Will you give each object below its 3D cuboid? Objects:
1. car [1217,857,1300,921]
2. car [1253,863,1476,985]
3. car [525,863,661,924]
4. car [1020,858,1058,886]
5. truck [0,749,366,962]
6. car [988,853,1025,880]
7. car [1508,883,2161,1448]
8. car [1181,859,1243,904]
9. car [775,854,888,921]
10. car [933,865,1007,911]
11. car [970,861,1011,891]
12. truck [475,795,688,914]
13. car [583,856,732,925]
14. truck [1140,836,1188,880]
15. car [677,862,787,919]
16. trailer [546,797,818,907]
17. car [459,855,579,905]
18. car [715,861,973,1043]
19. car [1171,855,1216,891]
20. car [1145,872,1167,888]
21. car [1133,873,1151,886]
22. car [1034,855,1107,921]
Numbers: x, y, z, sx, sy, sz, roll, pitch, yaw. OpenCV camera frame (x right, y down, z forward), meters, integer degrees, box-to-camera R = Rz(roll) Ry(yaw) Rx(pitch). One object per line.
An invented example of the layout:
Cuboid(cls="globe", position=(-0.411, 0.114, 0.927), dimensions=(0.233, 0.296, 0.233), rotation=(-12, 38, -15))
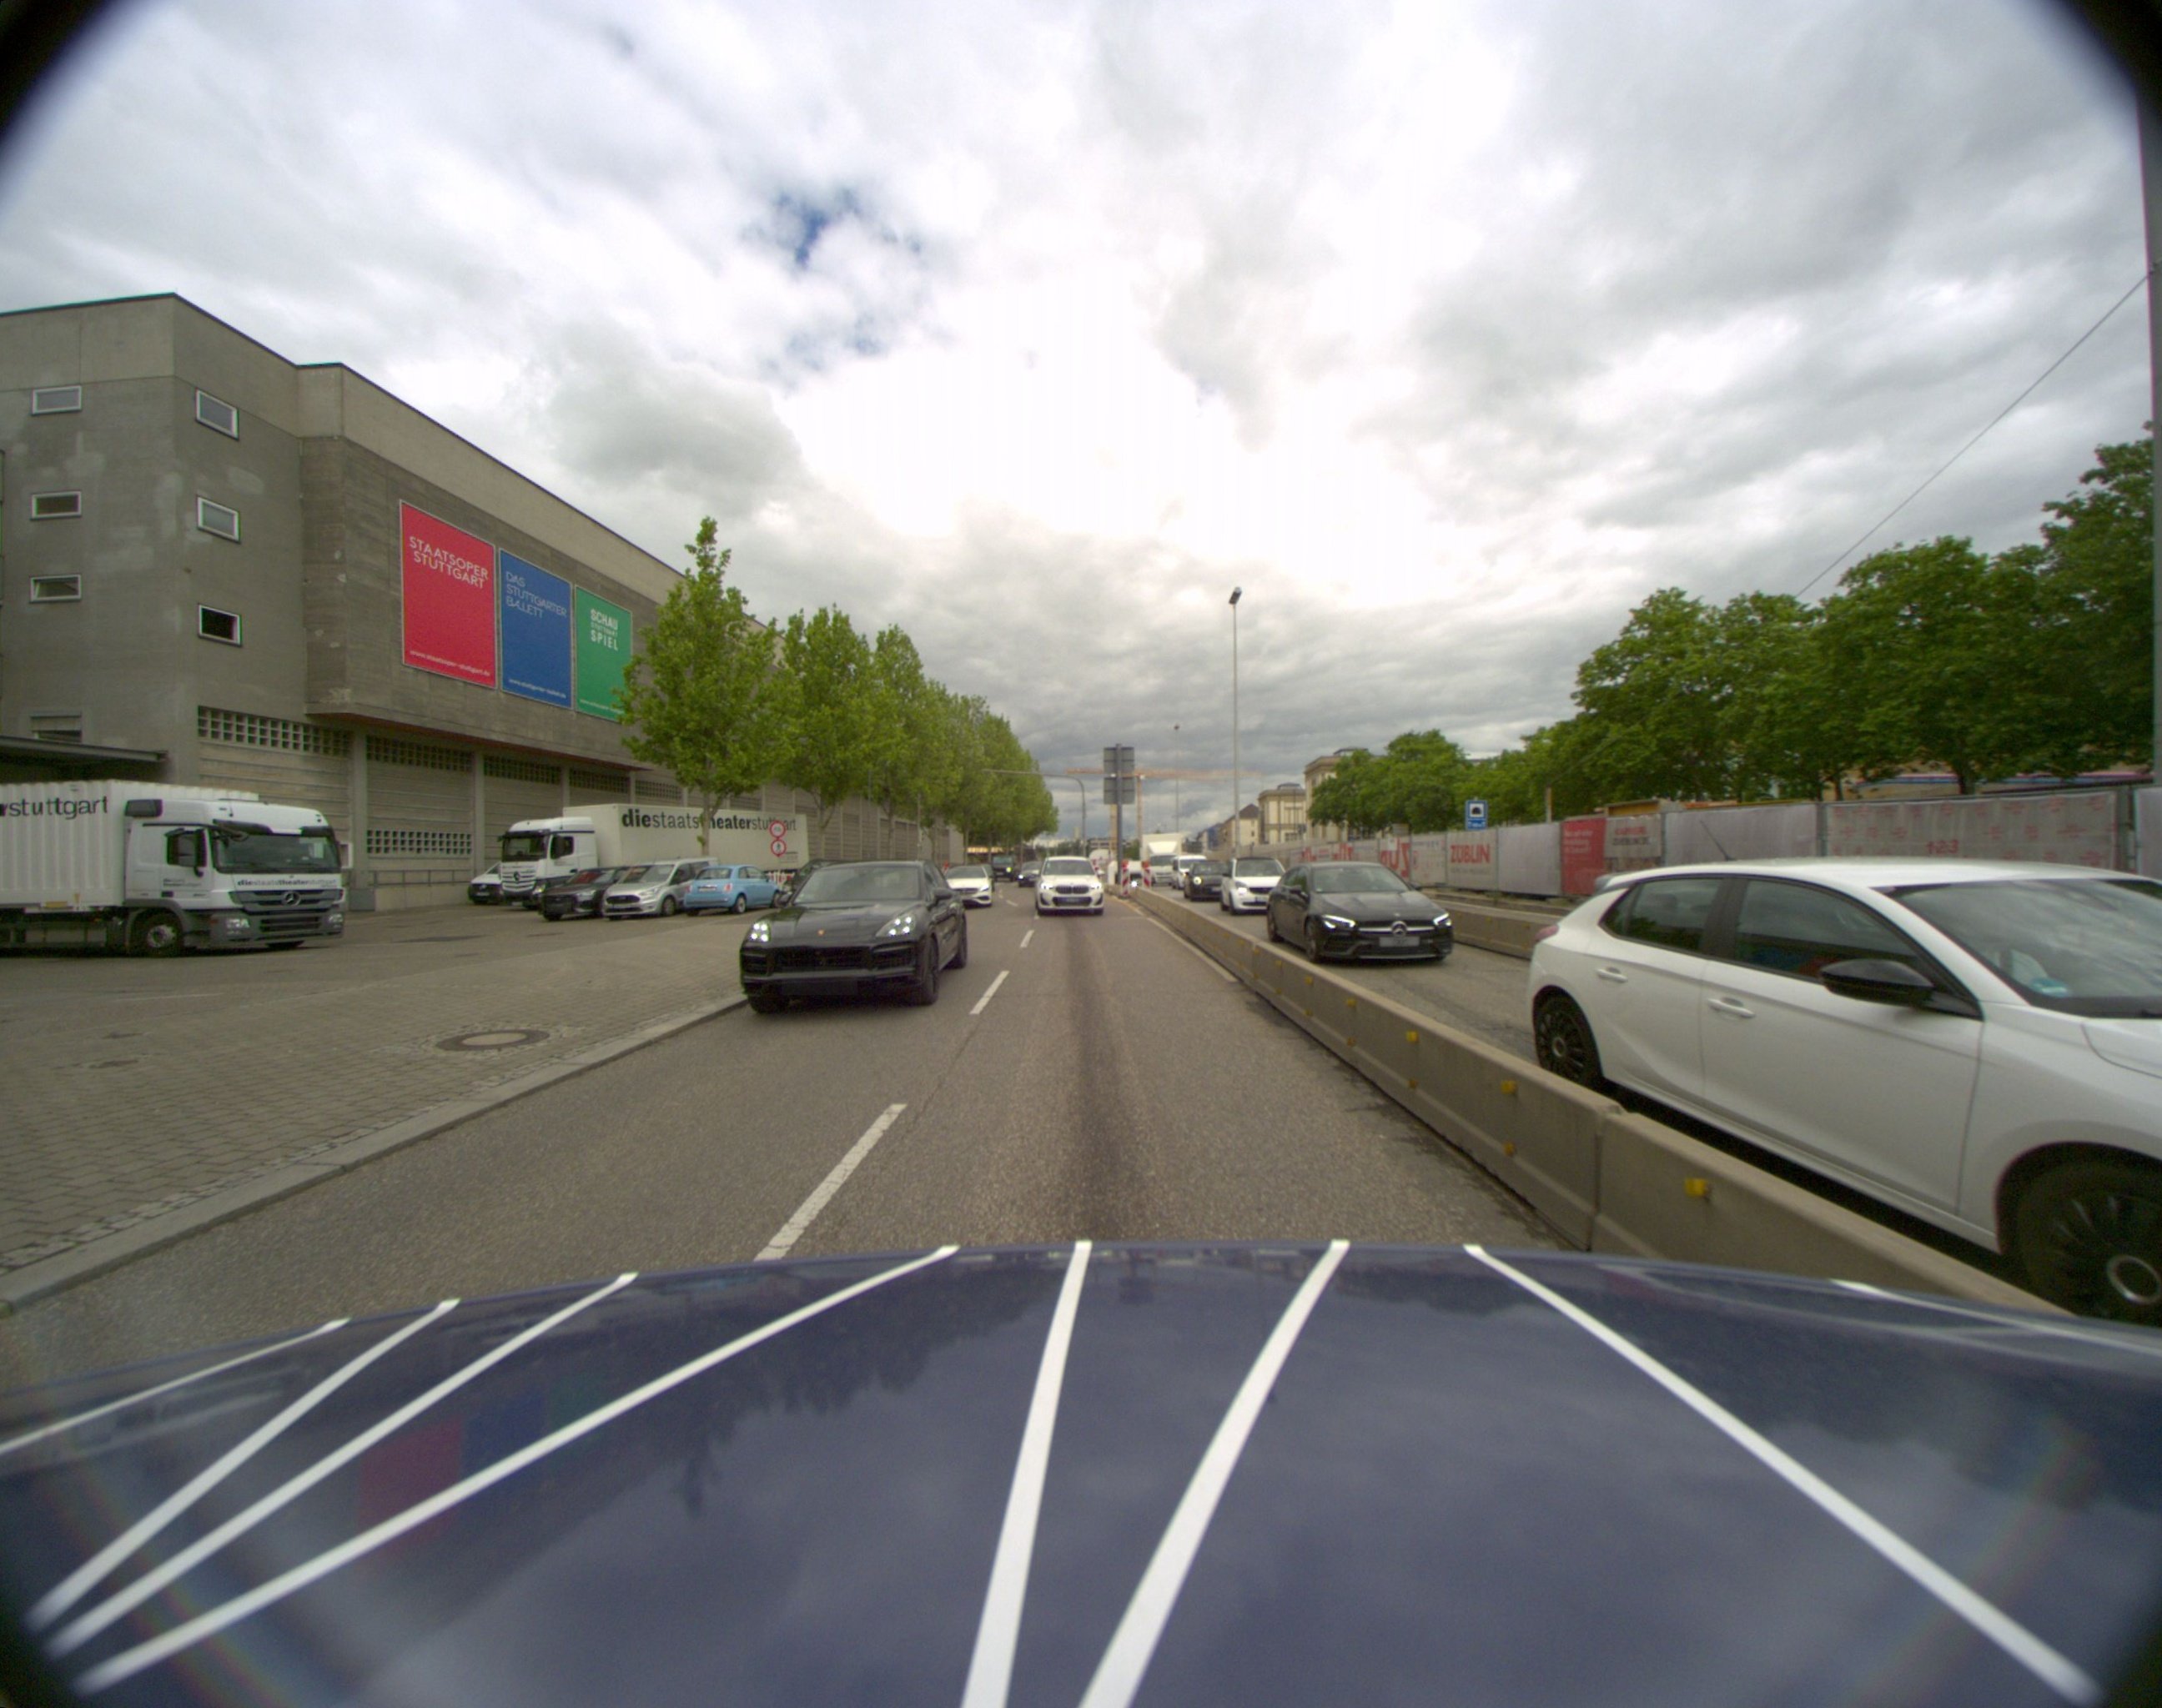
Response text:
Cuboid(cls="car", position=(4.772, 0.890, 20.783), dimensions=(1.634, 1.545, 3.002), rotation=(-2, 0, 2))
Cuboid(cls="car", position=(4.063, 0.907, 11.787), dimensions=(1.858, 1.407, 4.566), rotation=(-2, 0, 2))
Cuboid(cls="car", position=(-15.240, 1.165, 23.996), dimensions=(1.719, 1.679, 3.762), rotation=(-2, 0, 2))
Cuboid(cls="car", position=(-2.414, 1.017, 44.542), dimensions=(1.802, 1.429, 4.021), rotation=(-2, 0, 2))
Cuboid(cls="truck", position=(-22.134, 0.058, 16.749), dimensions=(10.375, 4.181, 3.000), rotation=(0, 0, 4))
Cuboid(cls="car", position=(-5.493, 0.903, 56.486), dimensions=(1.952, 1.914, 4.400), rotation=(-1, 0, 5))
Cuboid(cls="car", position=(3.671, 0.877, 2.998), dimensions=(1.730, 1.288, 3.934), rotation=(-2, 0, 0))
Cuboid(cls="car", position=(4.688, 0.933, 27.671), dimensions=(1.651, 1.430, 3.935), rotation=(-2, 0, 2))
Cuboid(cls="car", position=(-7.166, 0.914, 22.304), dimensions=(1.809, 1.728, 4.486), rotation=(-2, -1, -1))
Cuboid(cls="car", position=(-3.776, 1.122, 26.522), dimensions=(1.934, 1.368, 4.000), rotation=(-2, 0, 0))
Cuboid(cls="car", position=(-4.722, 1.121, 40.134), dimensions=(1.612, 1.464, 3.622), rotation=(-1, 0, 2))
Cuboid(cls="truck", position=(-19.281, 0.002, 29.968), dimensions=(3.137, 4.061, 6.578), rotation=(-2, 1, 11))
Cuboid(cls="car", position=(-12.995, 1.036, 23.716), dimensions=(1.809, 1.773, 4.622), rotation=(-4, 0, 2))
Cuboid(cls="truck", position=(5.517, 0.268, 51.691), dimensions=(2.977, 2.757, 7.257), rotation=(-1, 0, 4))
Cuboid(cls="car", position=(-10.524, 1.042, 23.195), dimensions=(1.584, 1.521, 3.504), rotation=(-2, 0, 2))
Cuboid(cls="trailer", position=(-17.880, -0.164, 36.274), dimensions=(3.153, 4.077, 13.982), rotation=(-3, 0, 11))
Cuboid(cls="car", position=(-22.986, 0.998, 31.283), dimensions=(1.558, 1.871, 4.002), rotation=(-2, 0, 8))
Cuboid(cls="car", position=(-2.581, 0.967, 9.453), dimensions=(1.908, 1.648, 4.200), rotation=(-2, 0, -1))
Cuboid(cls="car", position=(5.834, 0.936, 39.874), dimensions=(1.842, 1.751, 4.481), rotation=(-1, 0, 3))
Cuboid(cls="car", position=(8.274, 2.875, 84.015), dimensions=(1.873, 1.499, 3.999), rotation=(-3, 0, -2))
Cuboid(cls="car", position=(8.452, 3.556, 105.570), dimensions=(1.873, 1.499, 3.999), rotation=(-3, 0, -2))
Cuboid(cls="car", position=(-0.354, 0.887, 22.197), dimensions=(1.856, 1.618, 4.905), rotation=(-2, 0, -2))
